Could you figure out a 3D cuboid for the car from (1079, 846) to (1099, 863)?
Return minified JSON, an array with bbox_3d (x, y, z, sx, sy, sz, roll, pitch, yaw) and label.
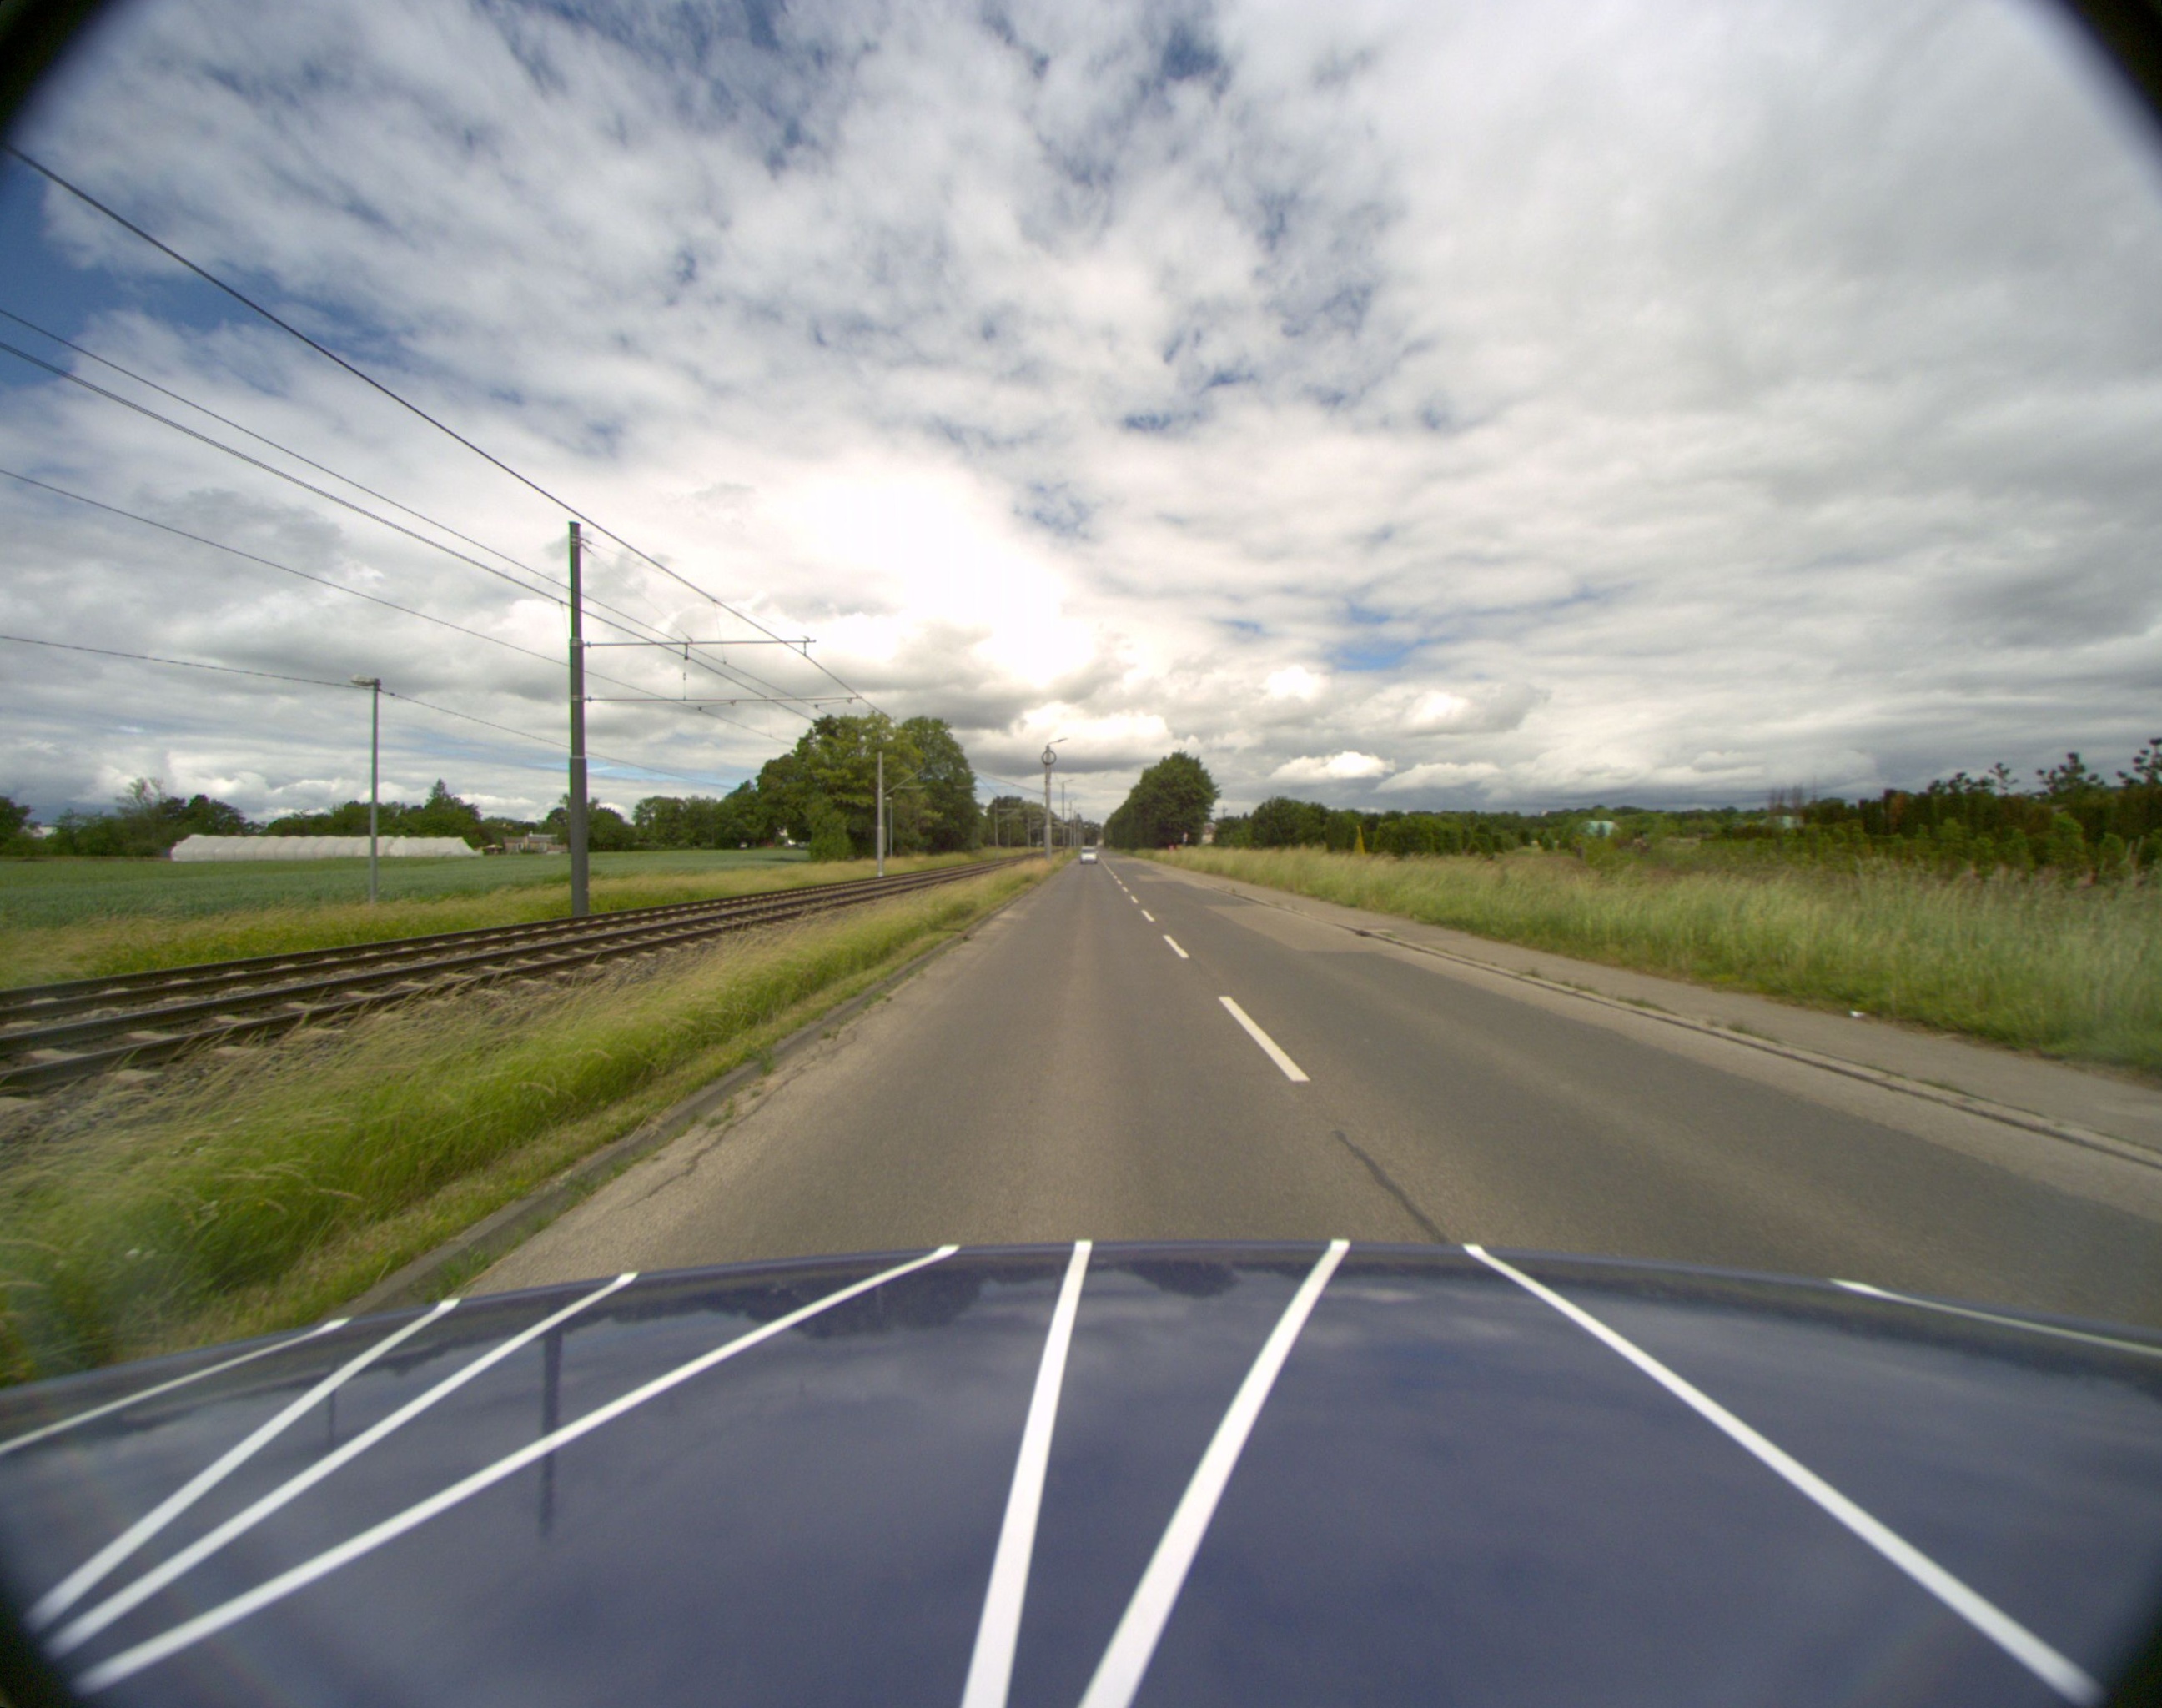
[{"bbox_3d":[0.797,0.067,76.593,1.999,1.679,3.999,-1,1,0],"label":"car"}]
